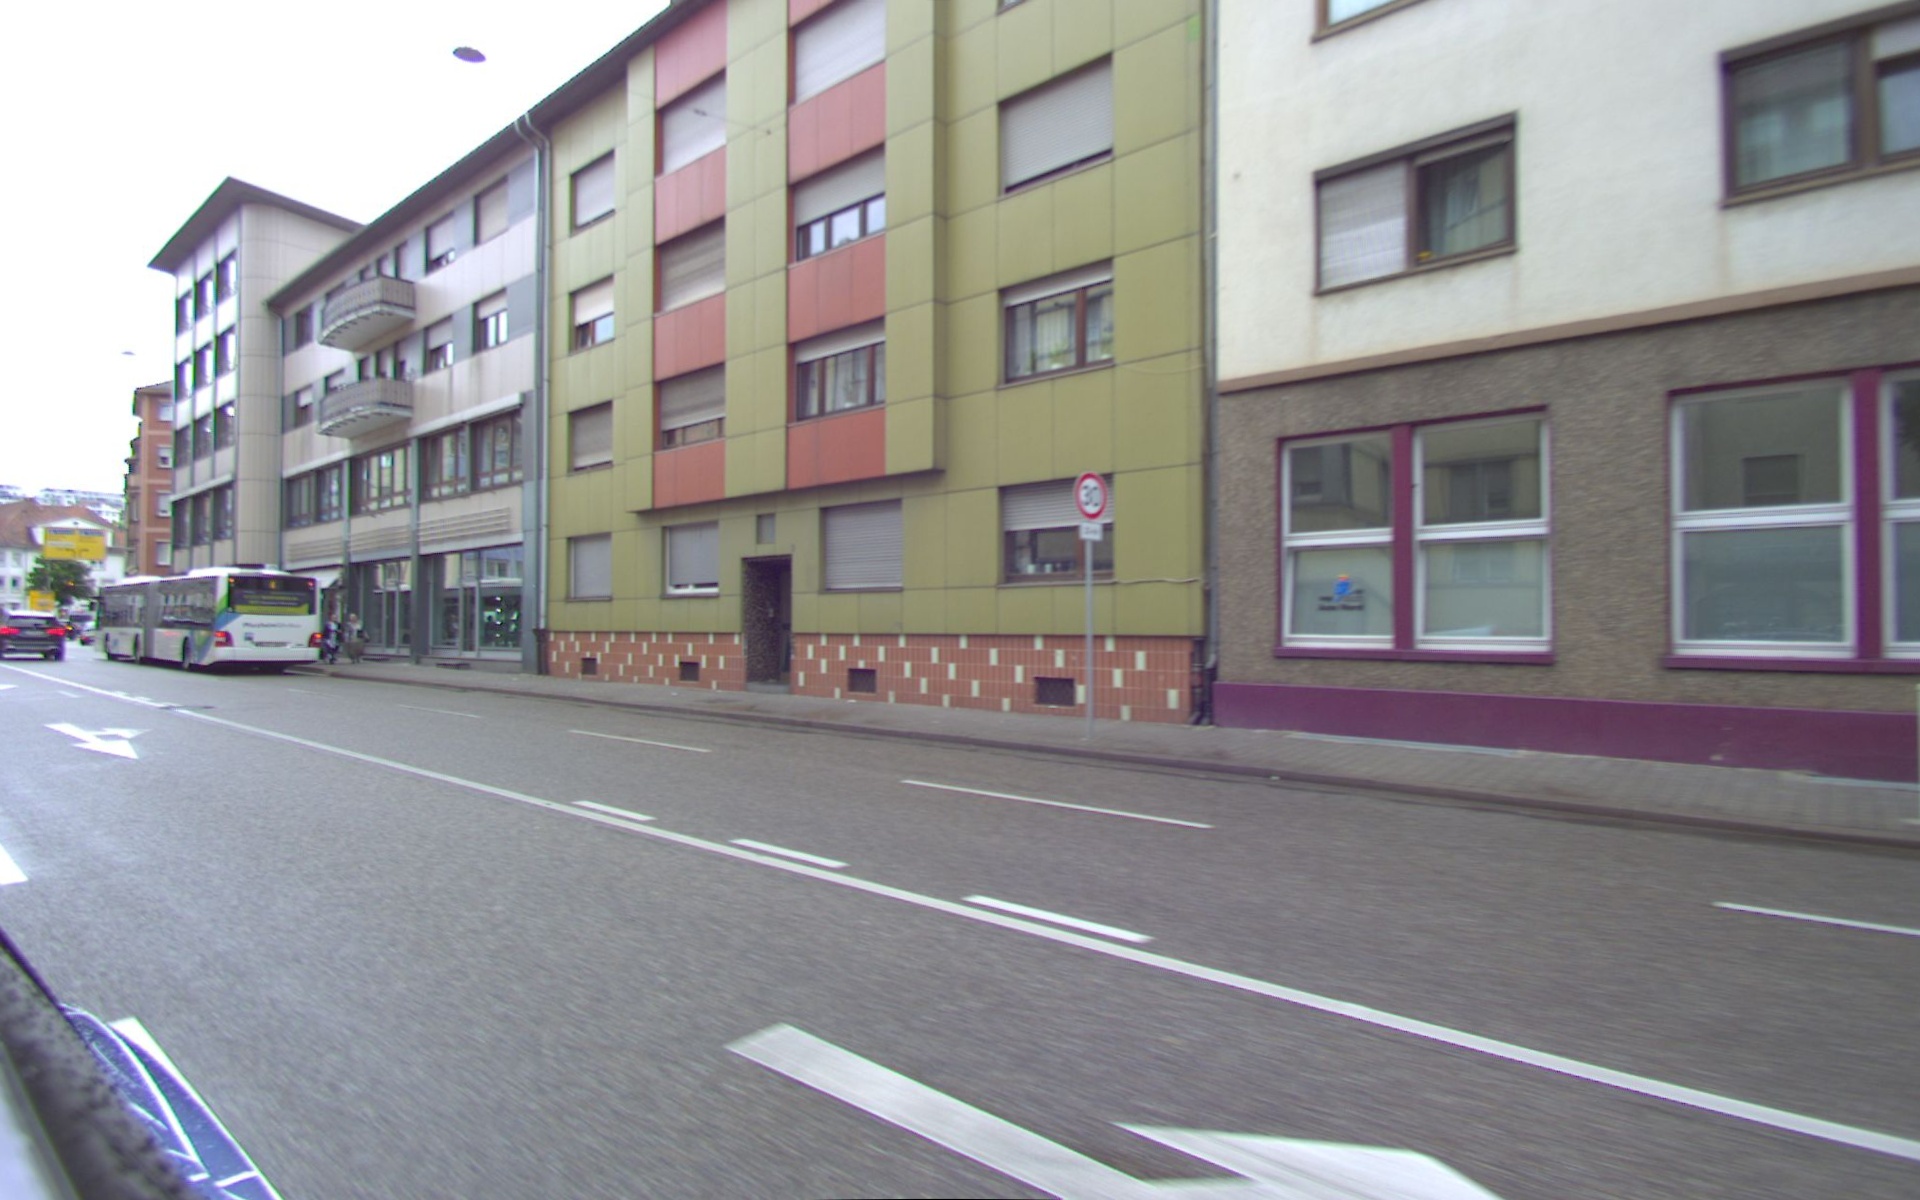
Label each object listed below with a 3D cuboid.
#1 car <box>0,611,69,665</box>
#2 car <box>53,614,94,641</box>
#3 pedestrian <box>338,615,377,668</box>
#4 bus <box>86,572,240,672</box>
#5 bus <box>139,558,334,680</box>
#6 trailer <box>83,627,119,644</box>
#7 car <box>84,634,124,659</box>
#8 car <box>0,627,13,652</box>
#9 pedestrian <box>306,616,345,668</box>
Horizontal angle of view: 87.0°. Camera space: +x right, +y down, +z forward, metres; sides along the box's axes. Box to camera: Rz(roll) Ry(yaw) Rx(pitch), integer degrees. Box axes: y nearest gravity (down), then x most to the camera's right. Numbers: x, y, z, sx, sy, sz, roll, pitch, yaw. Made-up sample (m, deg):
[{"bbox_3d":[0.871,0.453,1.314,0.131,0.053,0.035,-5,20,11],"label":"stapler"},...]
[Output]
[{"bbox_3d":[-32.956,1.293,35.454,4.568,1.770,1.911,-1,-2,40],"label":"car"},{"bbox_3d":[-84.408,2.592,96.314,6.349,2.454,2.064,-1,-2,41],"label":"car"},{"bbox_3d":[-18.840,1.279,31.633,0.711,1.627,0.828,-1,-2,41],"label":"pedestrian"},{"bbox_3d":[-28.992,0.788,36.641,8.907,3.213,2.730,-1,-2,41],"label":"bus"},{"bbox_3d":[-22.116,0.574,30.650,9.288,3.213,2.697,-1,-2,41],"label":"bus"},{"bbox_3d":[-51.464,2.119,60.670,1.567,0.956,3.062,0,-1,-38],"label":"trailer"},{"bbox_3d":[-53.956,2.881,63.749,1.827,1.408,4.799,-2,0,-41],"label":"car"},{"bbox_3d":[-59.425,2.421,61.913,4.083,1.462,1.691,-1,-2,40],"label":"car"},{"bbox_3d":[-19.514,1.286,31.123,0.711,1.546,0.791,-1,-2,41],"label":"pedestrian"}]
